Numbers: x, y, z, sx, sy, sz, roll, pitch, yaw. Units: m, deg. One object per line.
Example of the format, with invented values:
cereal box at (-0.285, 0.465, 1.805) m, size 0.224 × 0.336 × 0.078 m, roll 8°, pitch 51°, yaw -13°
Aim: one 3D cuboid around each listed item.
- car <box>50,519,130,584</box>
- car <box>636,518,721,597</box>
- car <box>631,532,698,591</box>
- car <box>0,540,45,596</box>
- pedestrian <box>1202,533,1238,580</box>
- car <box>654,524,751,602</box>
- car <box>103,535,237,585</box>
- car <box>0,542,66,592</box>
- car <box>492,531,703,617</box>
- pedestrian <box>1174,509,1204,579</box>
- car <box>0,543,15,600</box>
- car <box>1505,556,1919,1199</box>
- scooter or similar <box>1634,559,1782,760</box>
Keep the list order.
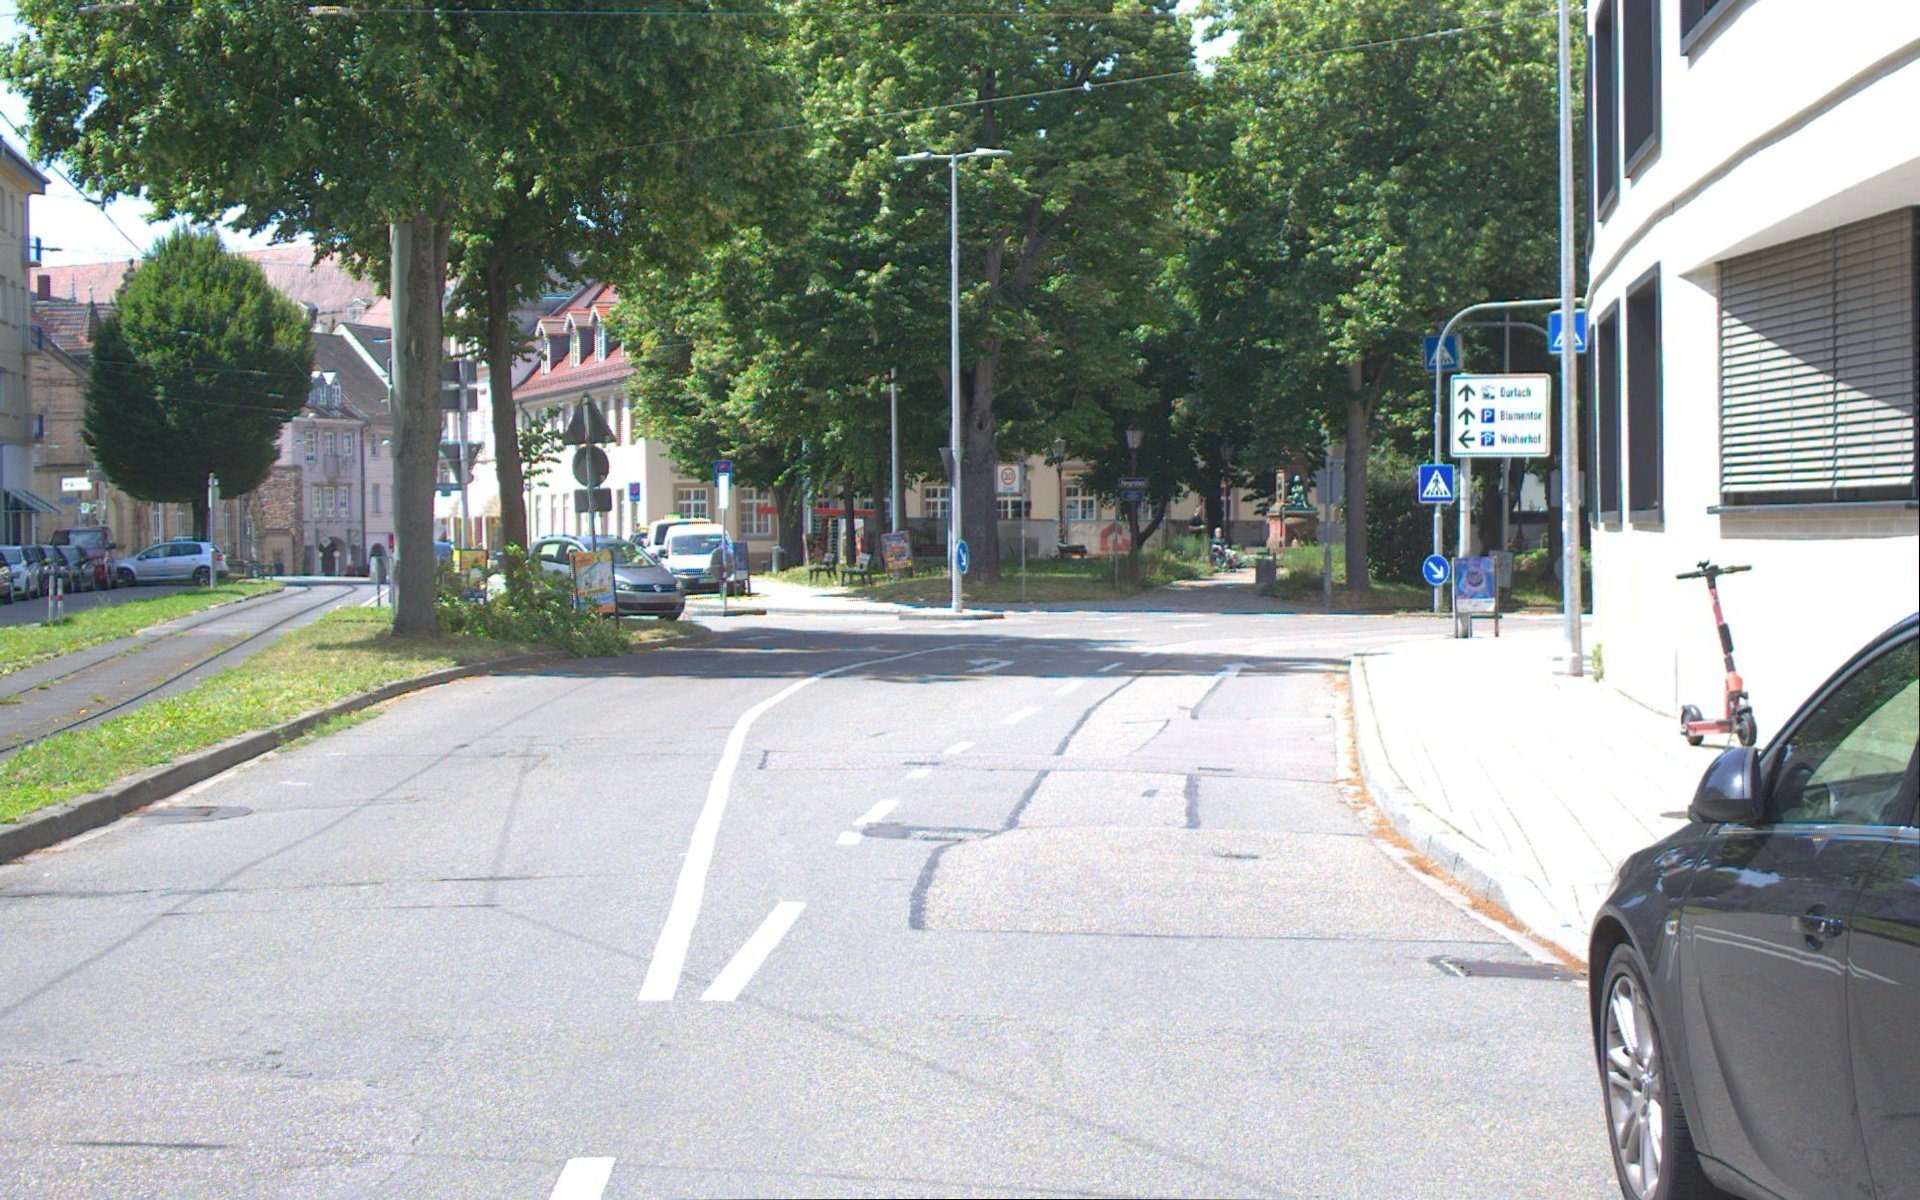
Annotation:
car at (-27.059, -1.527, 107.069) m, size 1.853 × 1.904 × 4.772 m, roll -2°, pitch 1°, yaw -8°
car at (-7.483, -1.148, 91.082) m, size 2.049 × 1.996 × 5.250 m, roll 0°, pitch 1°, yaw -7°
car at (-8.480, -1.121, 98.435) m, size 1.783 × 1.618 × 4.487 m, roll 0°, pitch 1°, yaw -7°
car at (-24.620, -0.818, 88.300) m, size 1.686 × 1.385 × 3.858 m, roll -2°, pitch 1°, yaw -8°
pedestrian at (7.094, -1.198, 93.813) m, size 0.906 × 1.247 × 1.148 m, roll 1°, pitch 2°, yaw 7°
car at (-6.211, -0.913, 82.599) m, size 1.993 × 1.820 × 4.423 m, roll 0°, pitch 1°, yaw -8°
car at (-25.964, -1.322, 113.077) m, size 4.201 × 1.500 × 2.005 m, roll -2°, pitch 1°, yaw -12°
car at (-25.305, -0.891, 93.121) m, size 1.686 × 1.273 × 3.289 m, roll -2°, pitch 1°, yaw -8°
car at (-6.840, -0.505, 64.561) m, size 1.904 × 1.528 × 4.242 m, roll 0°, pitch 1°, yaw -40°
pedestrian at (6.268, -1.542, 94.097) m, size 0.748 × 1.904 × 0.684 m, roll 1°, pitch 2°, yaw 7°
car at (-23.890, -0.663, 82.774) m, size 1.686 × 1.355 × 3.858 m, roll -2°, pitch 1°, yaw -8°
car at (2.417, 0.664, 5.982) m, size 1.799 × 1.504 × 4.548 m, roll -4°, pitch 1°, yaw -5°
scooter or similar at (4.875, 0.368, 22.473) m, size 0.581 × 1.256 × 1.367 m, roll -2°, pitch 1°, yaw -2°
